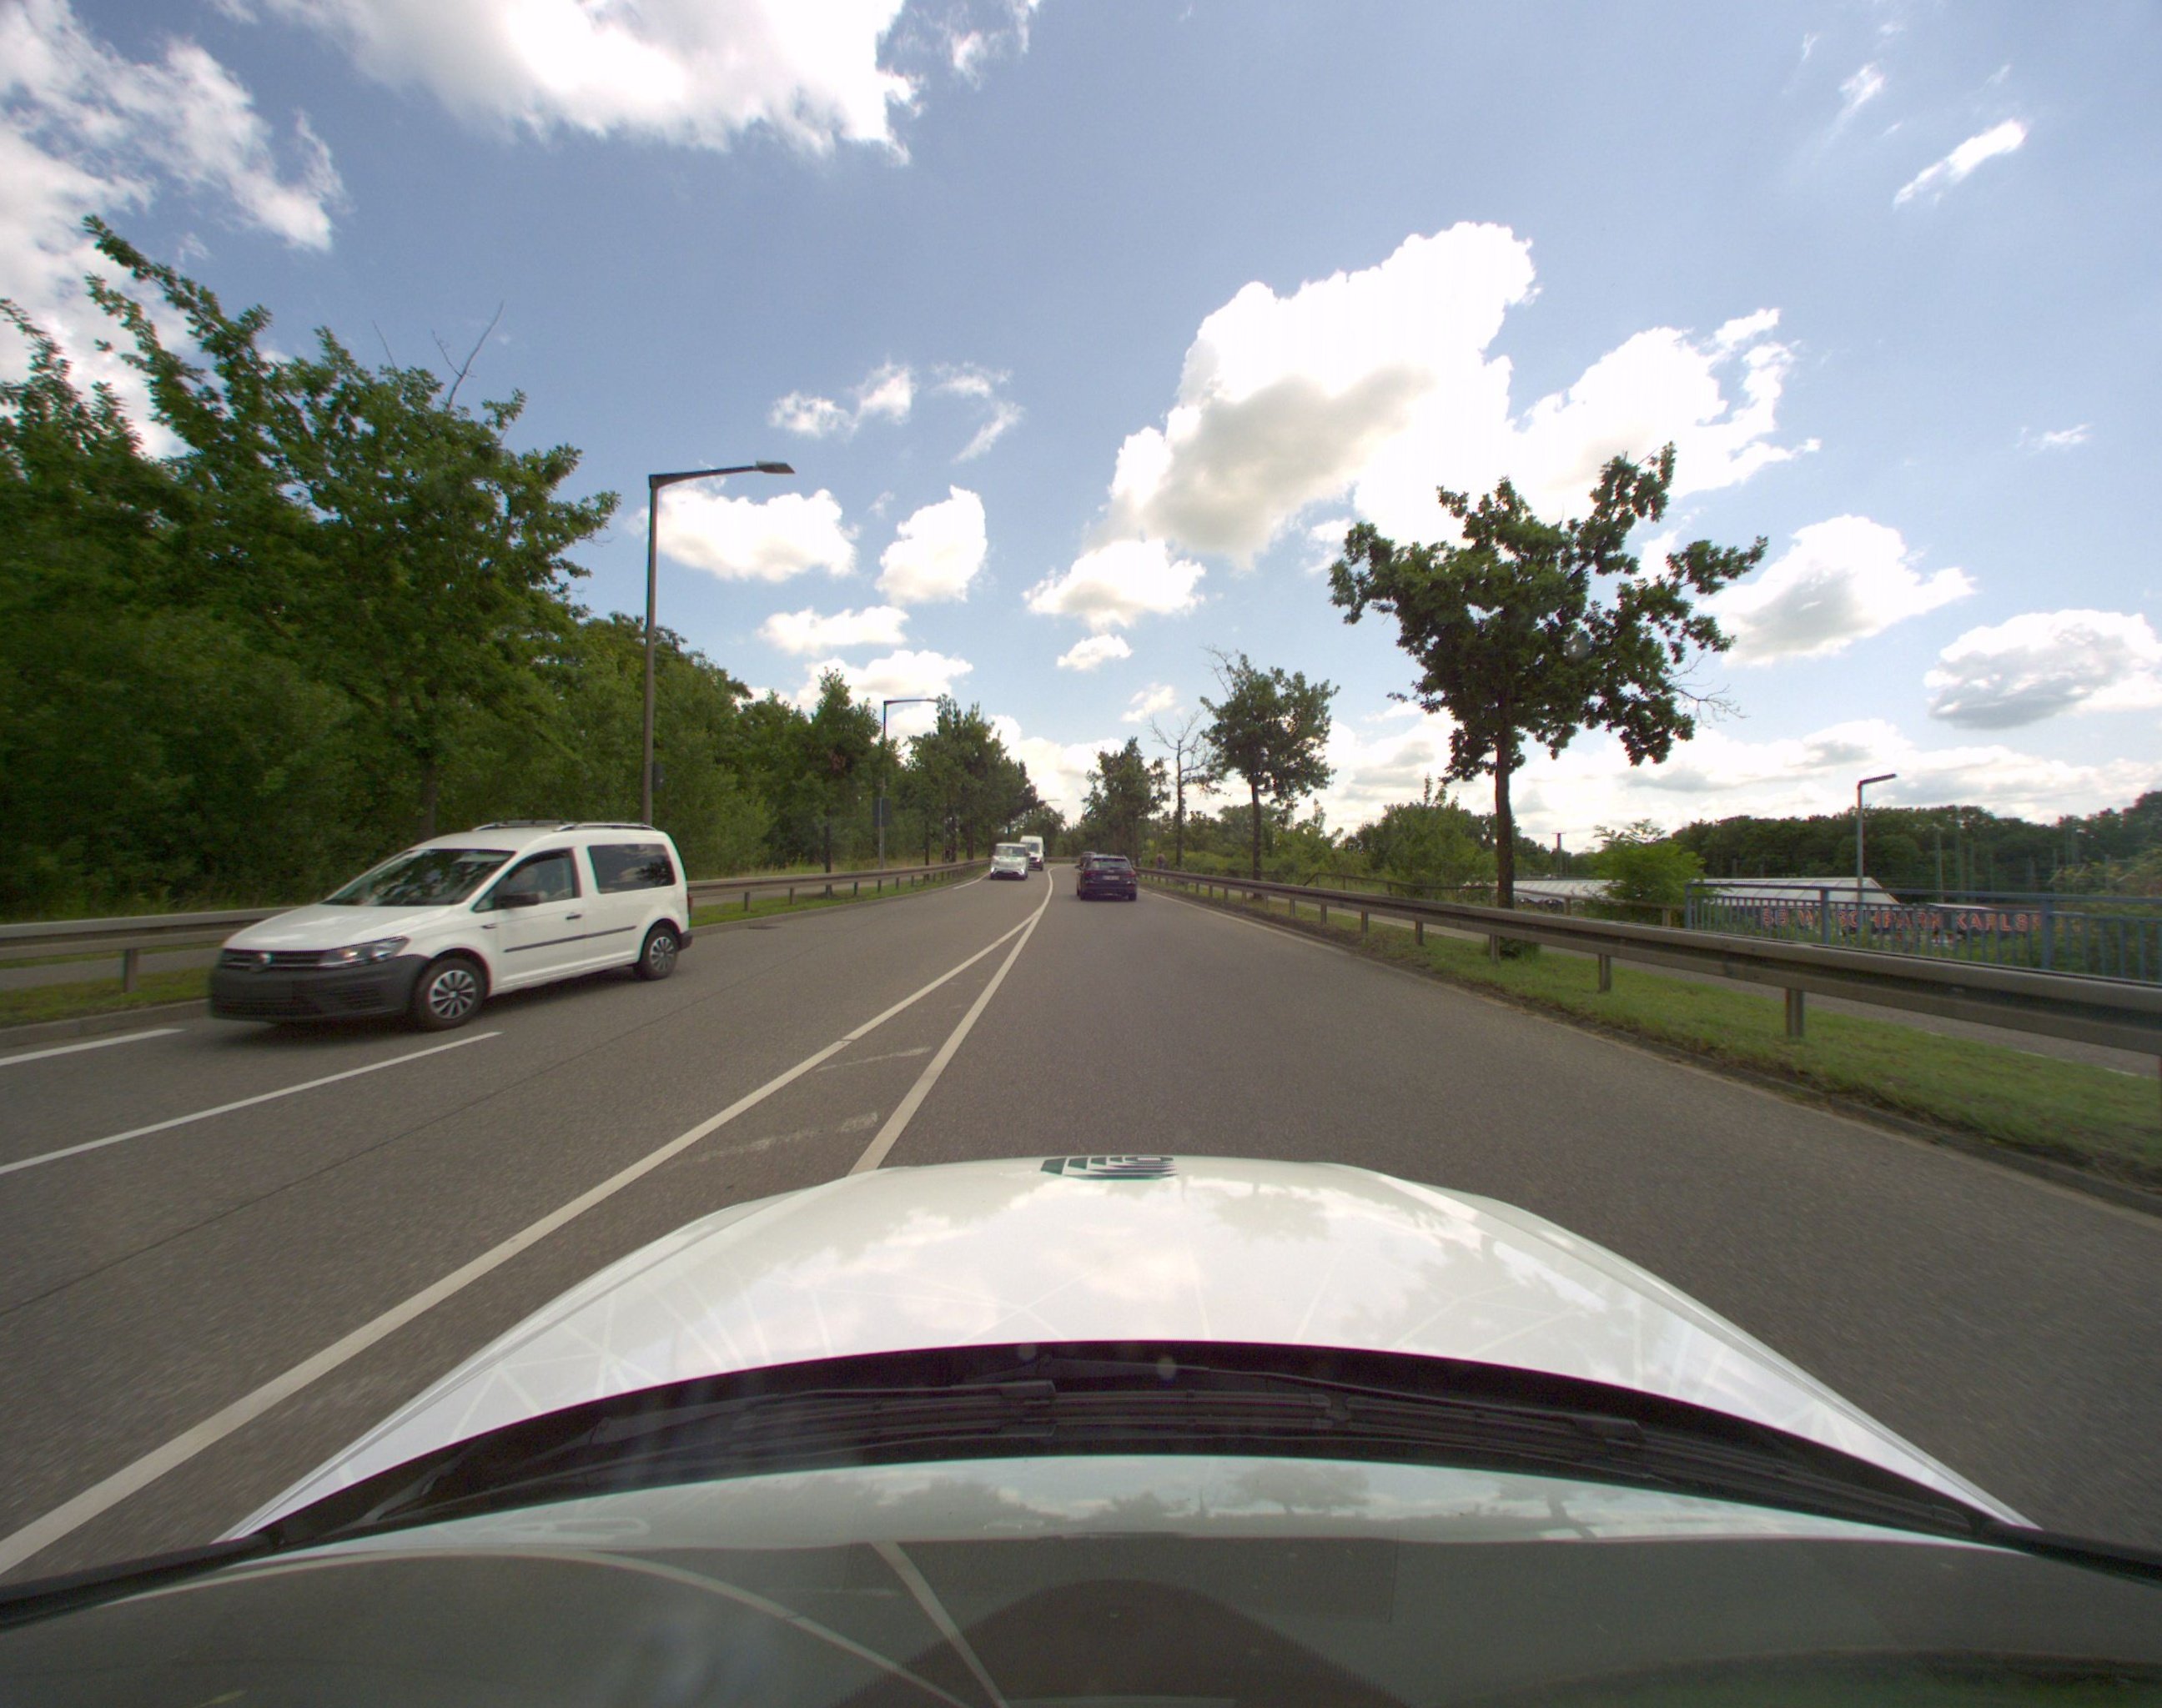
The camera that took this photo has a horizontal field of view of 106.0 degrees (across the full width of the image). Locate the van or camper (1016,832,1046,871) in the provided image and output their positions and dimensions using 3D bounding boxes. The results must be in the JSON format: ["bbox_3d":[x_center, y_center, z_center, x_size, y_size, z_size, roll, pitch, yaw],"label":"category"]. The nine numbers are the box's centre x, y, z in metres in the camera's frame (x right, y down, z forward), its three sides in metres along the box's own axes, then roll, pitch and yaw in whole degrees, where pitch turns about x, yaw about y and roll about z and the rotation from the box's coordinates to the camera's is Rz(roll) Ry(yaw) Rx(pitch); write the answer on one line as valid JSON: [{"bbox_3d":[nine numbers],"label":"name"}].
[{"bbox_3d":[-3.697,-0.103,61.373,1.988,2.750,5.381,2,-2,-2],"label":"van or camper"}]

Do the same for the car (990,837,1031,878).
[{"bbox_3d":[-3.697,0.208,42.231,1.991,2.014,4.446,0,-1,-6],"label":"car"}]

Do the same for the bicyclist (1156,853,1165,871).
[{"bbox_3d":[5.182,0.546,53.138,0.472,1.168,0.827,-1,-1,1],"label":"bicyclist"}]

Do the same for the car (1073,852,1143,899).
[{"bbox_3d":[0.799,0.634,26.861,1.989,1.390,4.571,-1,0,-2],"label":"car"}]

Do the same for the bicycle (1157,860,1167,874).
[{"bbox_3d":[5.266,0.877,52.935,0.540,0.866,1.750,2,-2,2],"label":"bicycle"}]

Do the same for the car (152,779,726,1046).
[{"bbox_3d":[-6.024,0.417,8.586,1.982,2.013,4.570,1,0,9],"label":"car"}]

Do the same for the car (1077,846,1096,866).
[{"bbox_3d":[0.572,0.251,90.814,1.988,2.038,4.710,1,-2,-1],"label":"car"}]
